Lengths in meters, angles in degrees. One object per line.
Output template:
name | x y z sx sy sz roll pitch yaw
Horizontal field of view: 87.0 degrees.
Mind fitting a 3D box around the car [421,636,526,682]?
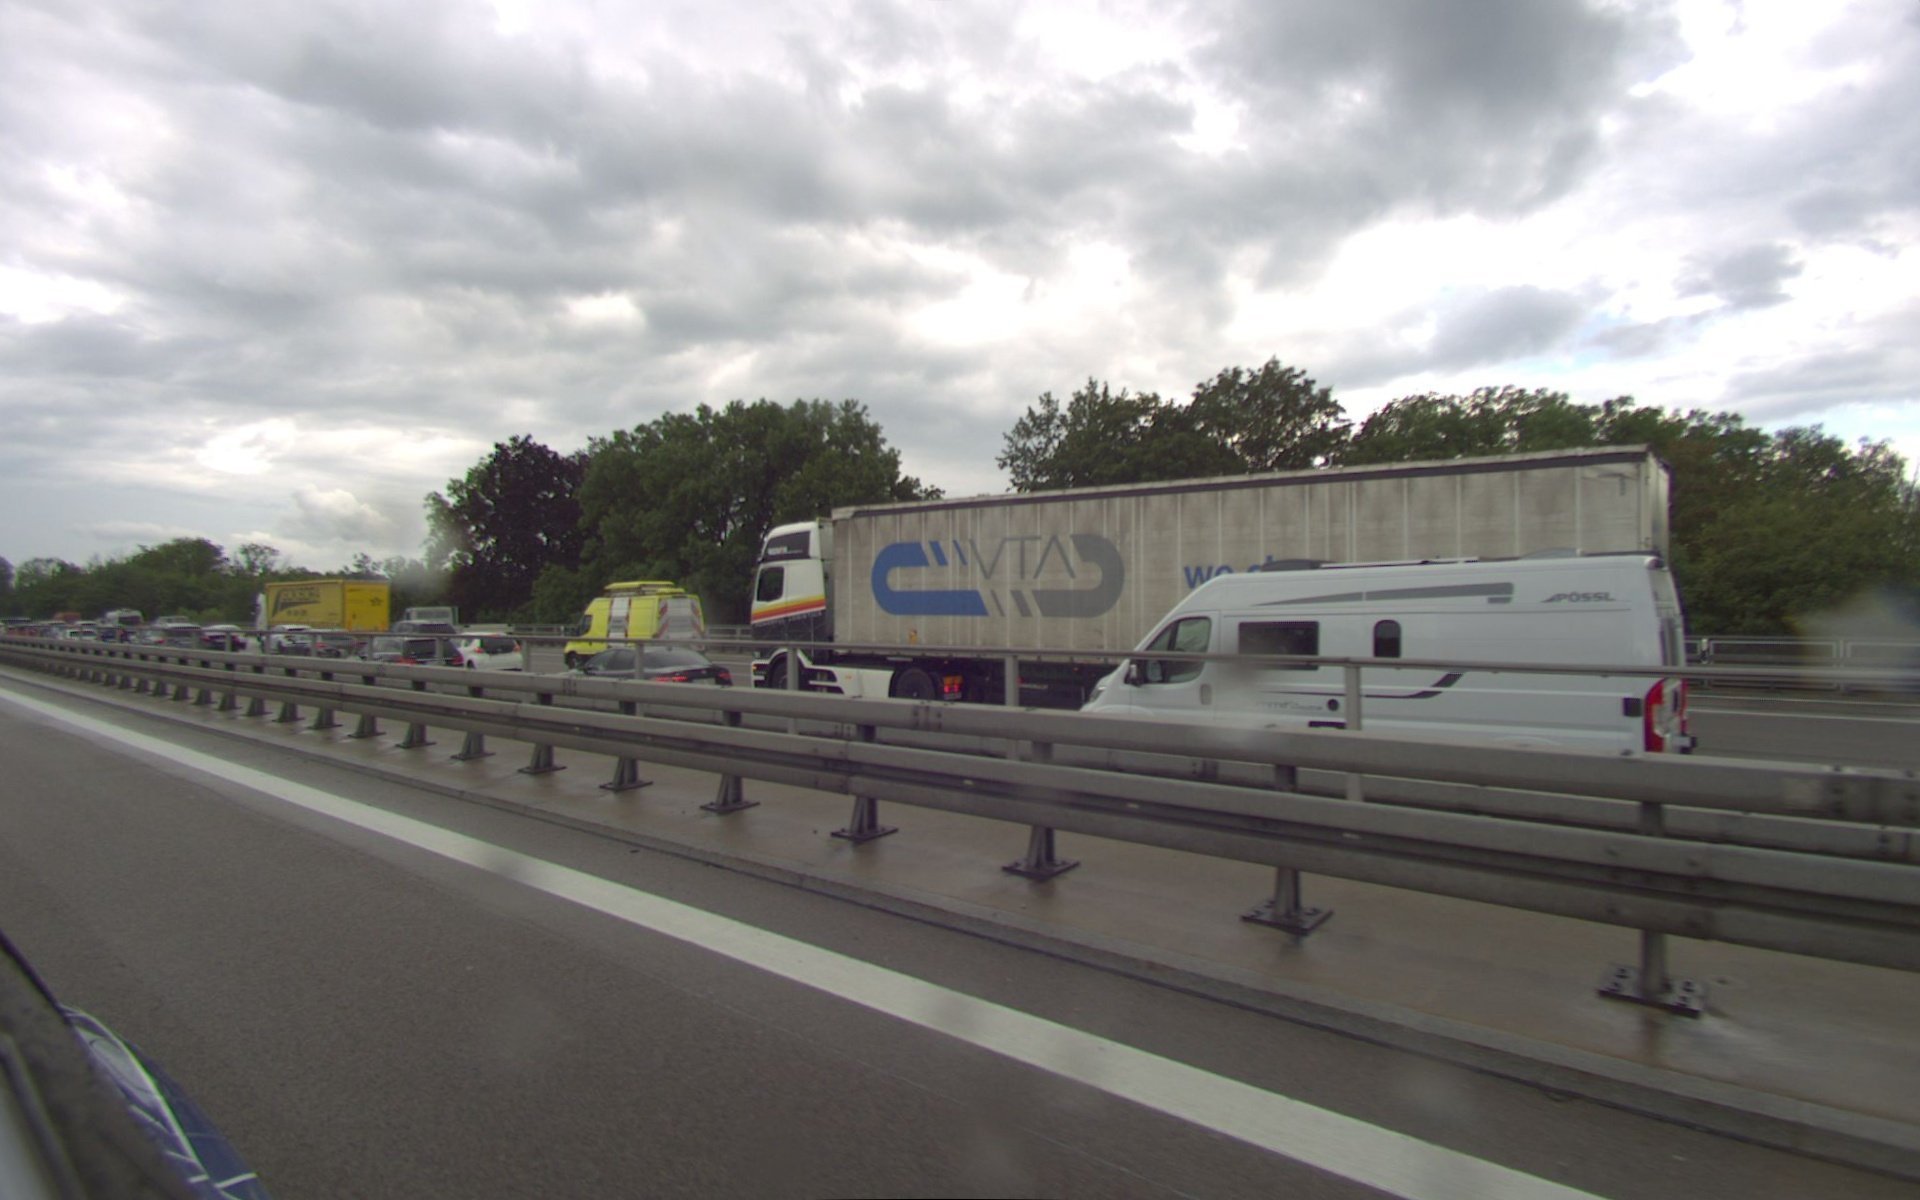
car | -16.138 1.915 33.468 4.097 1.397 1.585 -1 -2 40

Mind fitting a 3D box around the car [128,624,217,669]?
car | -33.295 1.901 42.731 5.327 1.780 1.894 -1 -2 40

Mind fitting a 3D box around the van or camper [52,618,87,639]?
van or camper | -101.948 3.216 115.800 6.227 2.322 1.921 -1 -2 39

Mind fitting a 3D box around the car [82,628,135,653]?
car | -57.578 2.729 68.401 4.570 1.624 1.762 -1 -2 37

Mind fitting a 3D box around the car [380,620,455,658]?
car | -23.749 1.674 44.229 3.997 1.608 1.518 -1 -2 40

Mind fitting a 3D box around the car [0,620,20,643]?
car | -72.240 2.331 75.807 5.166 1.682 1.849 -1 -2 38

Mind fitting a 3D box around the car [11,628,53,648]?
car | -78.794 3.190 85.914 4.456 1.625 1.845 -1 -2 37

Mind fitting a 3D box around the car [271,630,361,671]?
car | -26.966 2.060 42.315 4.683 1.589 1.731 -1 -2 38

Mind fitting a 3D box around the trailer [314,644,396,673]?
trailer | -23.811 2.280 39.803 3.336 1.045 1.708 -1 -2 38

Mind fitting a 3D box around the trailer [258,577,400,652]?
trailer | -39.840 0.962 63.564 14.498 4.260 3.214 -1 -2 40

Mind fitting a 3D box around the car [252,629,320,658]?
car | -36.027 2.289 54.030 4.412 1.490 1.731 -1 -2 38

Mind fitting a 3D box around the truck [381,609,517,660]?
truck | -25.831 1.693 50.885 9.267 2.389 2.653 -1 -2 40

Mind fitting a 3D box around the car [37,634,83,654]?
car | -68.887 3.324 77.481 4.469 1.436 1.799 -1 -2 37

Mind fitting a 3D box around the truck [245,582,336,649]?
truck | -44.966 1.062 67.907 6.876 4.282 3.214 -1 -2 40

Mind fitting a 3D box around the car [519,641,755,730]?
car | -6.350 1.552 19.560 5.160 1.429 1.903 -1 -2 40

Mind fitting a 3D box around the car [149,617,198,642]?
car | -65.990 2.442 84.858 5.404 2.029 1.975 -1 -2 38

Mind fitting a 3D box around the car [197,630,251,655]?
car | -45.286 2.595 62.261 4.050 1.449 1.803 -1 -2 41

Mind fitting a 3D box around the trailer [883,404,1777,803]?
trailer | 4.430 0.159 15.913 13.017 4.177 2.851 -1 -2 40

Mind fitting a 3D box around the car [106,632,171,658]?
car | -48.389 2.615 59.546 5.212 1.491 1.792 -1 -2 37

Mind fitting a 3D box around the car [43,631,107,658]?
car | -47.861 2.357 54.718 4.814 1.393 1.745 -1 -2 38

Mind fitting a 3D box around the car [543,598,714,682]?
car | -11.096 1.268 33.489 6.767 2.524 2.134 -1 -2 40

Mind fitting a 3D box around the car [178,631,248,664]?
car | -37.488 2.354 50.741 4.412 1.589 1.731 -1 -2 38

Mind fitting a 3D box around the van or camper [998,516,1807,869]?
van or camper | 3.946 0.740 10.452 7.296 2.515 2.255 -1 -2 40

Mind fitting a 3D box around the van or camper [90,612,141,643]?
van or camper | -79.988 2.628 95.866 7.220 2.786 2.181 -1 -2 38

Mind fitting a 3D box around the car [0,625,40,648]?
car | -63.615 2.436 67.872 4.834 1.474 1.975 -1 -2 38

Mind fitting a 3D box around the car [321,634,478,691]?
car | -15.611 1.659 28.043 5.455 1.397 1.994 -1 -2 40

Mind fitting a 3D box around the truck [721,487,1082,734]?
truck | -1.429 0.261 20.831 7.551 4.212 2.851 -1 -2 40

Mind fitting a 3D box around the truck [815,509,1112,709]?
truck | -0.100 0.282 24.594 7.099 4.179 2.873 -1 -2 42

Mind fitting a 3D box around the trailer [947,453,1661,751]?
trailer | 5.488 0.157 19.587 13.024 4.177 2.850 -1 -2 42

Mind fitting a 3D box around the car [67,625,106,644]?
car | -78.291 3.101 90.702 4.456 1.625 1.711 -1 -2 37
